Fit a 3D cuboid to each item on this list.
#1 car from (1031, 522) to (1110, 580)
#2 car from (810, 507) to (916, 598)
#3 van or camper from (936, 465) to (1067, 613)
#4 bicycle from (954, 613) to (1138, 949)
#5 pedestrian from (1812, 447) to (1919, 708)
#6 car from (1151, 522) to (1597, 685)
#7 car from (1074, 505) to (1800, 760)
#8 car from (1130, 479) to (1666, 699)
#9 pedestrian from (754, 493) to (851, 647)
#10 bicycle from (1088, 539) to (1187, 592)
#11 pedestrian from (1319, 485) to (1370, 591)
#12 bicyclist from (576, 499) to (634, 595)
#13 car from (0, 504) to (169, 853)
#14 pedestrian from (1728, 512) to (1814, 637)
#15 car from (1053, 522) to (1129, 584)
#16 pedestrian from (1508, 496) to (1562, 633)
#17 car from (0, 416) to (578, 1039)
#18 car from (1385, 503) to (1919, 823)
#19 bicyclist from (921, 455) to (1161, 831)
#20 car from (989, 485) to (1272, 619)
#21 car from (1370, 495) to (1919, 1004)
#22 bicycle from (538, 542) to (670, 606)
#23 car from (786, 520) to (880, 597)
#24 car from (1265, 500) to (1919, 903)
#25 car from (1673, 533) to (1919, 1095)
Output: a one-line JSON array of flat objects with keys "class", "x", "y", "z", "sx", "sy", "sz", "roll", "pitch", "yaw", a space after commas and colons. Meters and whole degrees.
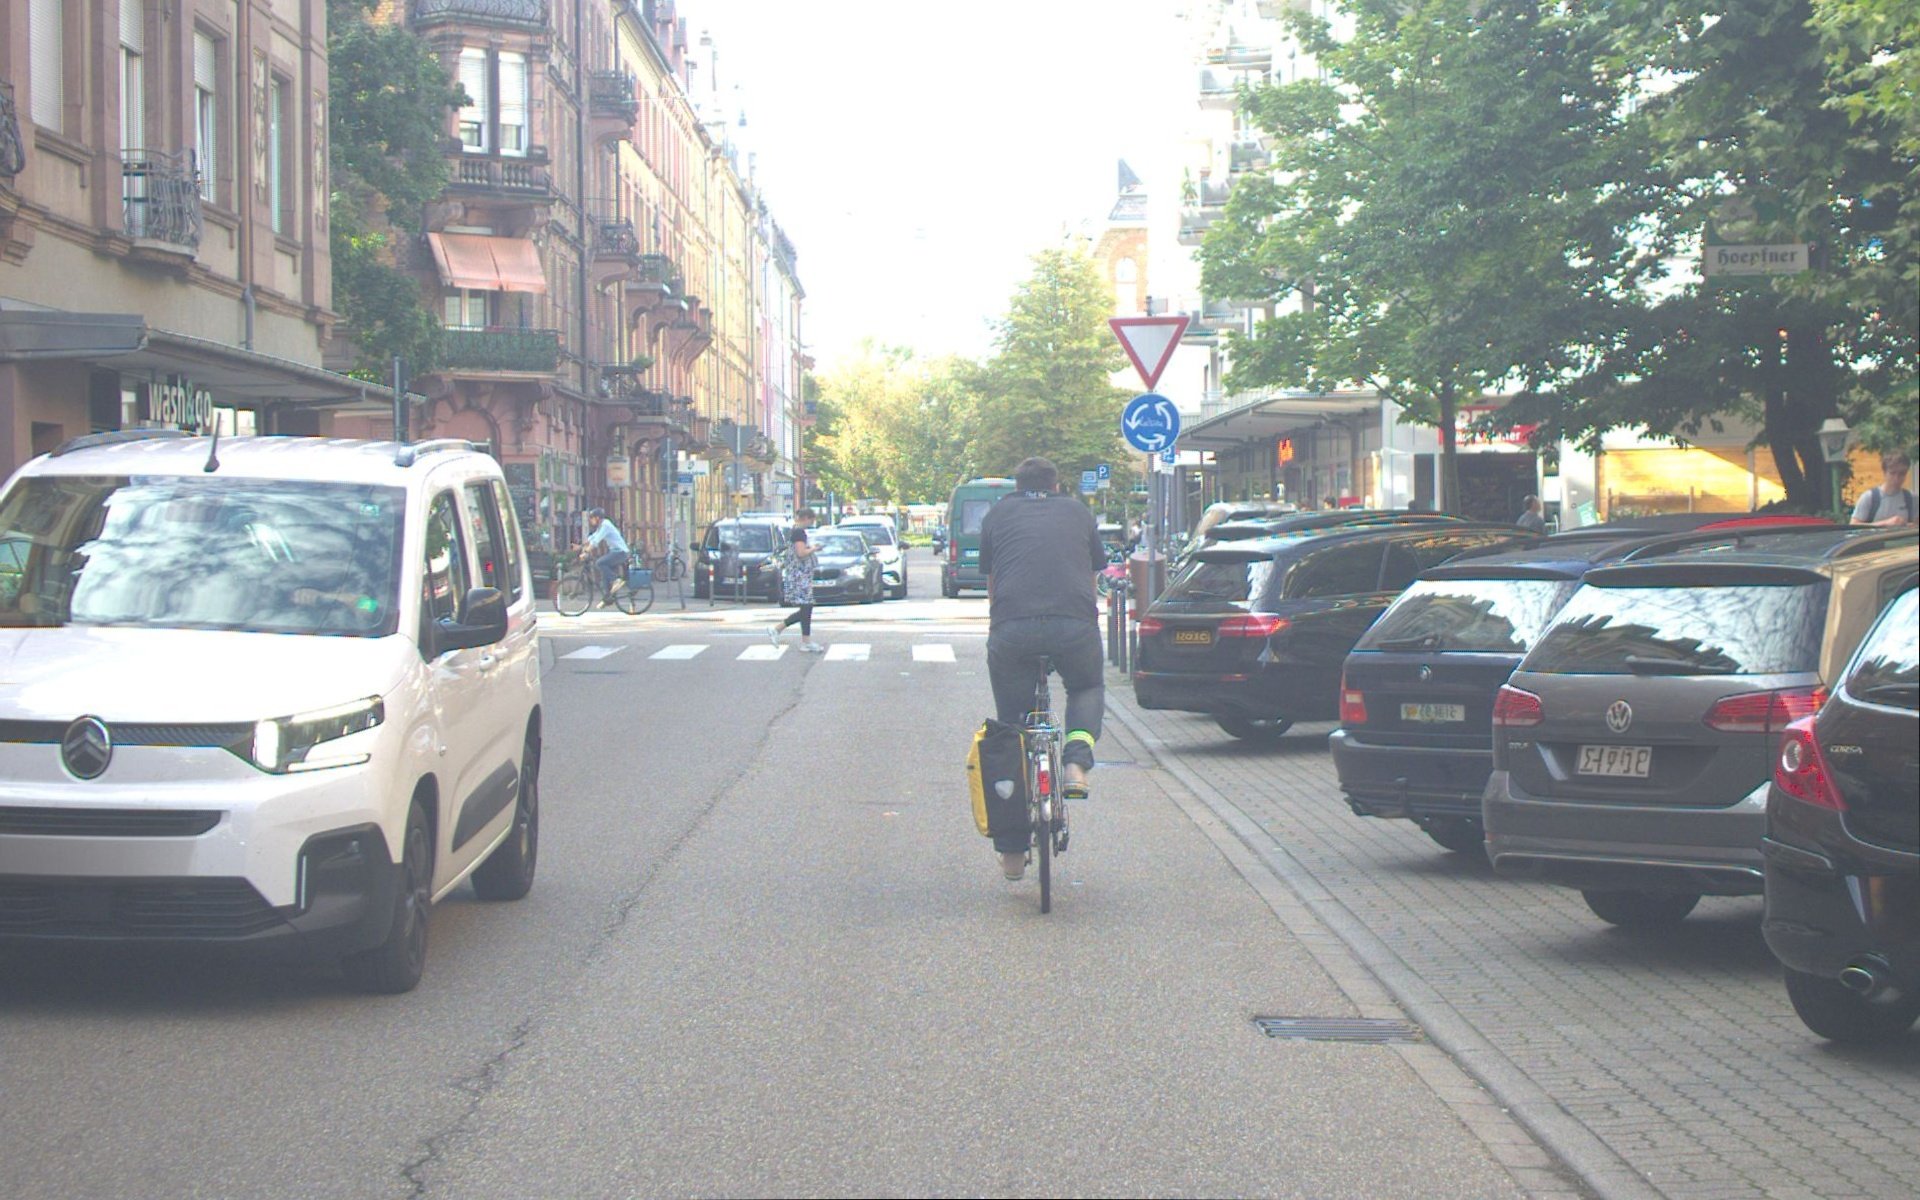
[{"class": "car", "x": 2.924, "y": -1.323, "z": 91.873, "sx": 1.993, "sy": 1.481, "sz": 4.000, "roll": -1, "pitch": 1, "yaw": 1}, {"class": "car", "x": -2.066, "y": -1.061, "z": 74.547, "sx": 1.943, "sy": 1.716, "sz": 4.850, "roll": -2, "pitch": 3, "yaw": 2}, {"class": "van or camper", "x": 0.841, "y": -1.319, "z": 73.649, "sx": 2.531, "sy": 3.026, "sz": 4.459, "roll": -1, "pitch": 1, "yaw": -2}, {"class": "bicycle", "x": 0.322, "y": 0.674, "z": 13.958, "sx": 0.666, "sy": 1.174, "sz": 2.497, "roll": 1, "pitch": 1, "yaw": 0}, {"class": "pedestrian", "x": 6.719, "y": -0.170, "z": 25.097, "sx": 0.839, "sy": 1.871, "sz": 0.723, "roll": -1, "pitch": 1, "yaw": 4}, {"class": "car", "x": 3.975, "y": -0.005, "z": 32.949, "sx": 3.931, "sy": 1.452, "sz": 1.770, "roll": -1, "pitch": 2, "yaw": -28}, {"class": "car", "x": 3.404, "y": 0.156, "z": 24.340, "sx": 4.753, "sy": 1.452, "sz": 2.057, "roll": -4, "pitch": 3, "yaw": -28}, {"class": "car", "x": 3.875, "y": -0.135, "z": 30.313, "sx": 4.340, "sy": 1.639, "sz": 1.822, "roll": -4, "pitch": 2, "yaw": -26}, {"class": "pedestrian", "x": -1.847, "y": -0.358, "z": 40.441, "sx": 0.783, "sy": 1.773, "sz": 0.791, "roll": 0, "pitch": 2, "yaw": 38}, {"class": "bicycle", "x": 3.623, "y": -0.711, "z": 70.128, "sx": 2.000, "sy": 1.042, "sz": 0.532, "roll": -1, "pitch": 1, "yaw": 3}, {"class": "pedestrian", "x": 6.771, "y": -1.088, "z": 60.532, "sx": 0.869, "sy": 1.845, "sz": 0.612, "roll": -1, "pitch": 1, "yaw": 5}, {"class": "bicyclist", "x": -6.199, "y": -0.931, "z": 59.964, "sx": 0.854, "sy": 1.660, "sz": 0.790, "roll": 1, "pitch": 1, "yaw": -17}, {"class": "car", "x": -5.265, "y": 0.334, "z": 16.467, "sx": 1.993, "sy": 1.539, "sz": 4.427, "roll": -1, "pitch": 1, "yaw": -1}, {"class": "pedestrian", "x": 8.854, "y": -0.282, "z": 37.546, "sx": 0.756, "sy": 1.338, "sz": 0.597, "roll": -1, "pitch": 1, "yaw": -4}, {"class": "car", "x": 3.053, "y": -1.119, "z": 80.418, "sx": 1.645, "sy": 1.320, "sz": 3.576, "roll": -3, "pitch": 1, "yaw": 1}, {"class": "pedestrian", "x": 7.355, "y": -0.461, "z": 43.969, "sx": 0.629, "sy": 1.733, "sz": 0.775, "roll": 0, "pitch": 1, "yaw": 12}, {"class": "car", "x": -2.590, "y": 0.326, "z": 12.347, "sx": 1.917, "sy": 1.822, "sz": 4.438, "roll": 1, "pitch": 1, "yaw": 0}, {"class": "car", "x": 4.281, "y": 0.263, "z": 18.797, "sx": 3.709, "sy": 1.480, "sz": 1.741, "roll": -3, "pitch": 3, "yaw": -38}, {"class": "bicyclist", "x": 0.323, "y": 0.164, "z": 14.012, "sx": 0.933, "sy": 1.478, "sz": 0.747, "roll": 1, "pitch": 1, "yaw": 0}, {"class": "car", "x": 2.457, "y": -0.711, "z": 50.404, "sx": 3.987, "sy": 1.875, "sz": 2.000, "roll": 1, "pitch": 1, "yaw": -1}, {"class": "car", "x": 3.814, "y": 0.382, "z": 13.015, "sx": 4.456, "sy": 1.472, "sz": 1.889, "roll": -5, "pitch": 4, "yaw": -40}, {"class": "bicycle", "x": -6.210, "y": -0.451, "z": 59.969, "sx": 2.184, "sy": 1.088, "sz": 0.678, "roll": 1, "pitch": 1, "yaw": -17}, {"class": "car", "x": -2.426, "y": -0.791, "z": 65.976, "sx": 1.750, "sy": 1.431, "sz": 4.212, "roll": 0, "pitch": 1, "yaw": -2}, {"class": "car", "x": 3.758, "y": 0.353, "z": 15.919, "sx": 4.455, "sy": 1.459, "sz": 1.879, "roll": -4, "pitch": 3, "yaw": -35}, {"class": "car", "x": 4.079, "y": 0.494, "z": 10.282, "sx": 3.983, "sy": 1.454, "sz": 1.750, "roll": -3, "pitch": 2, "yaw": -41}]
